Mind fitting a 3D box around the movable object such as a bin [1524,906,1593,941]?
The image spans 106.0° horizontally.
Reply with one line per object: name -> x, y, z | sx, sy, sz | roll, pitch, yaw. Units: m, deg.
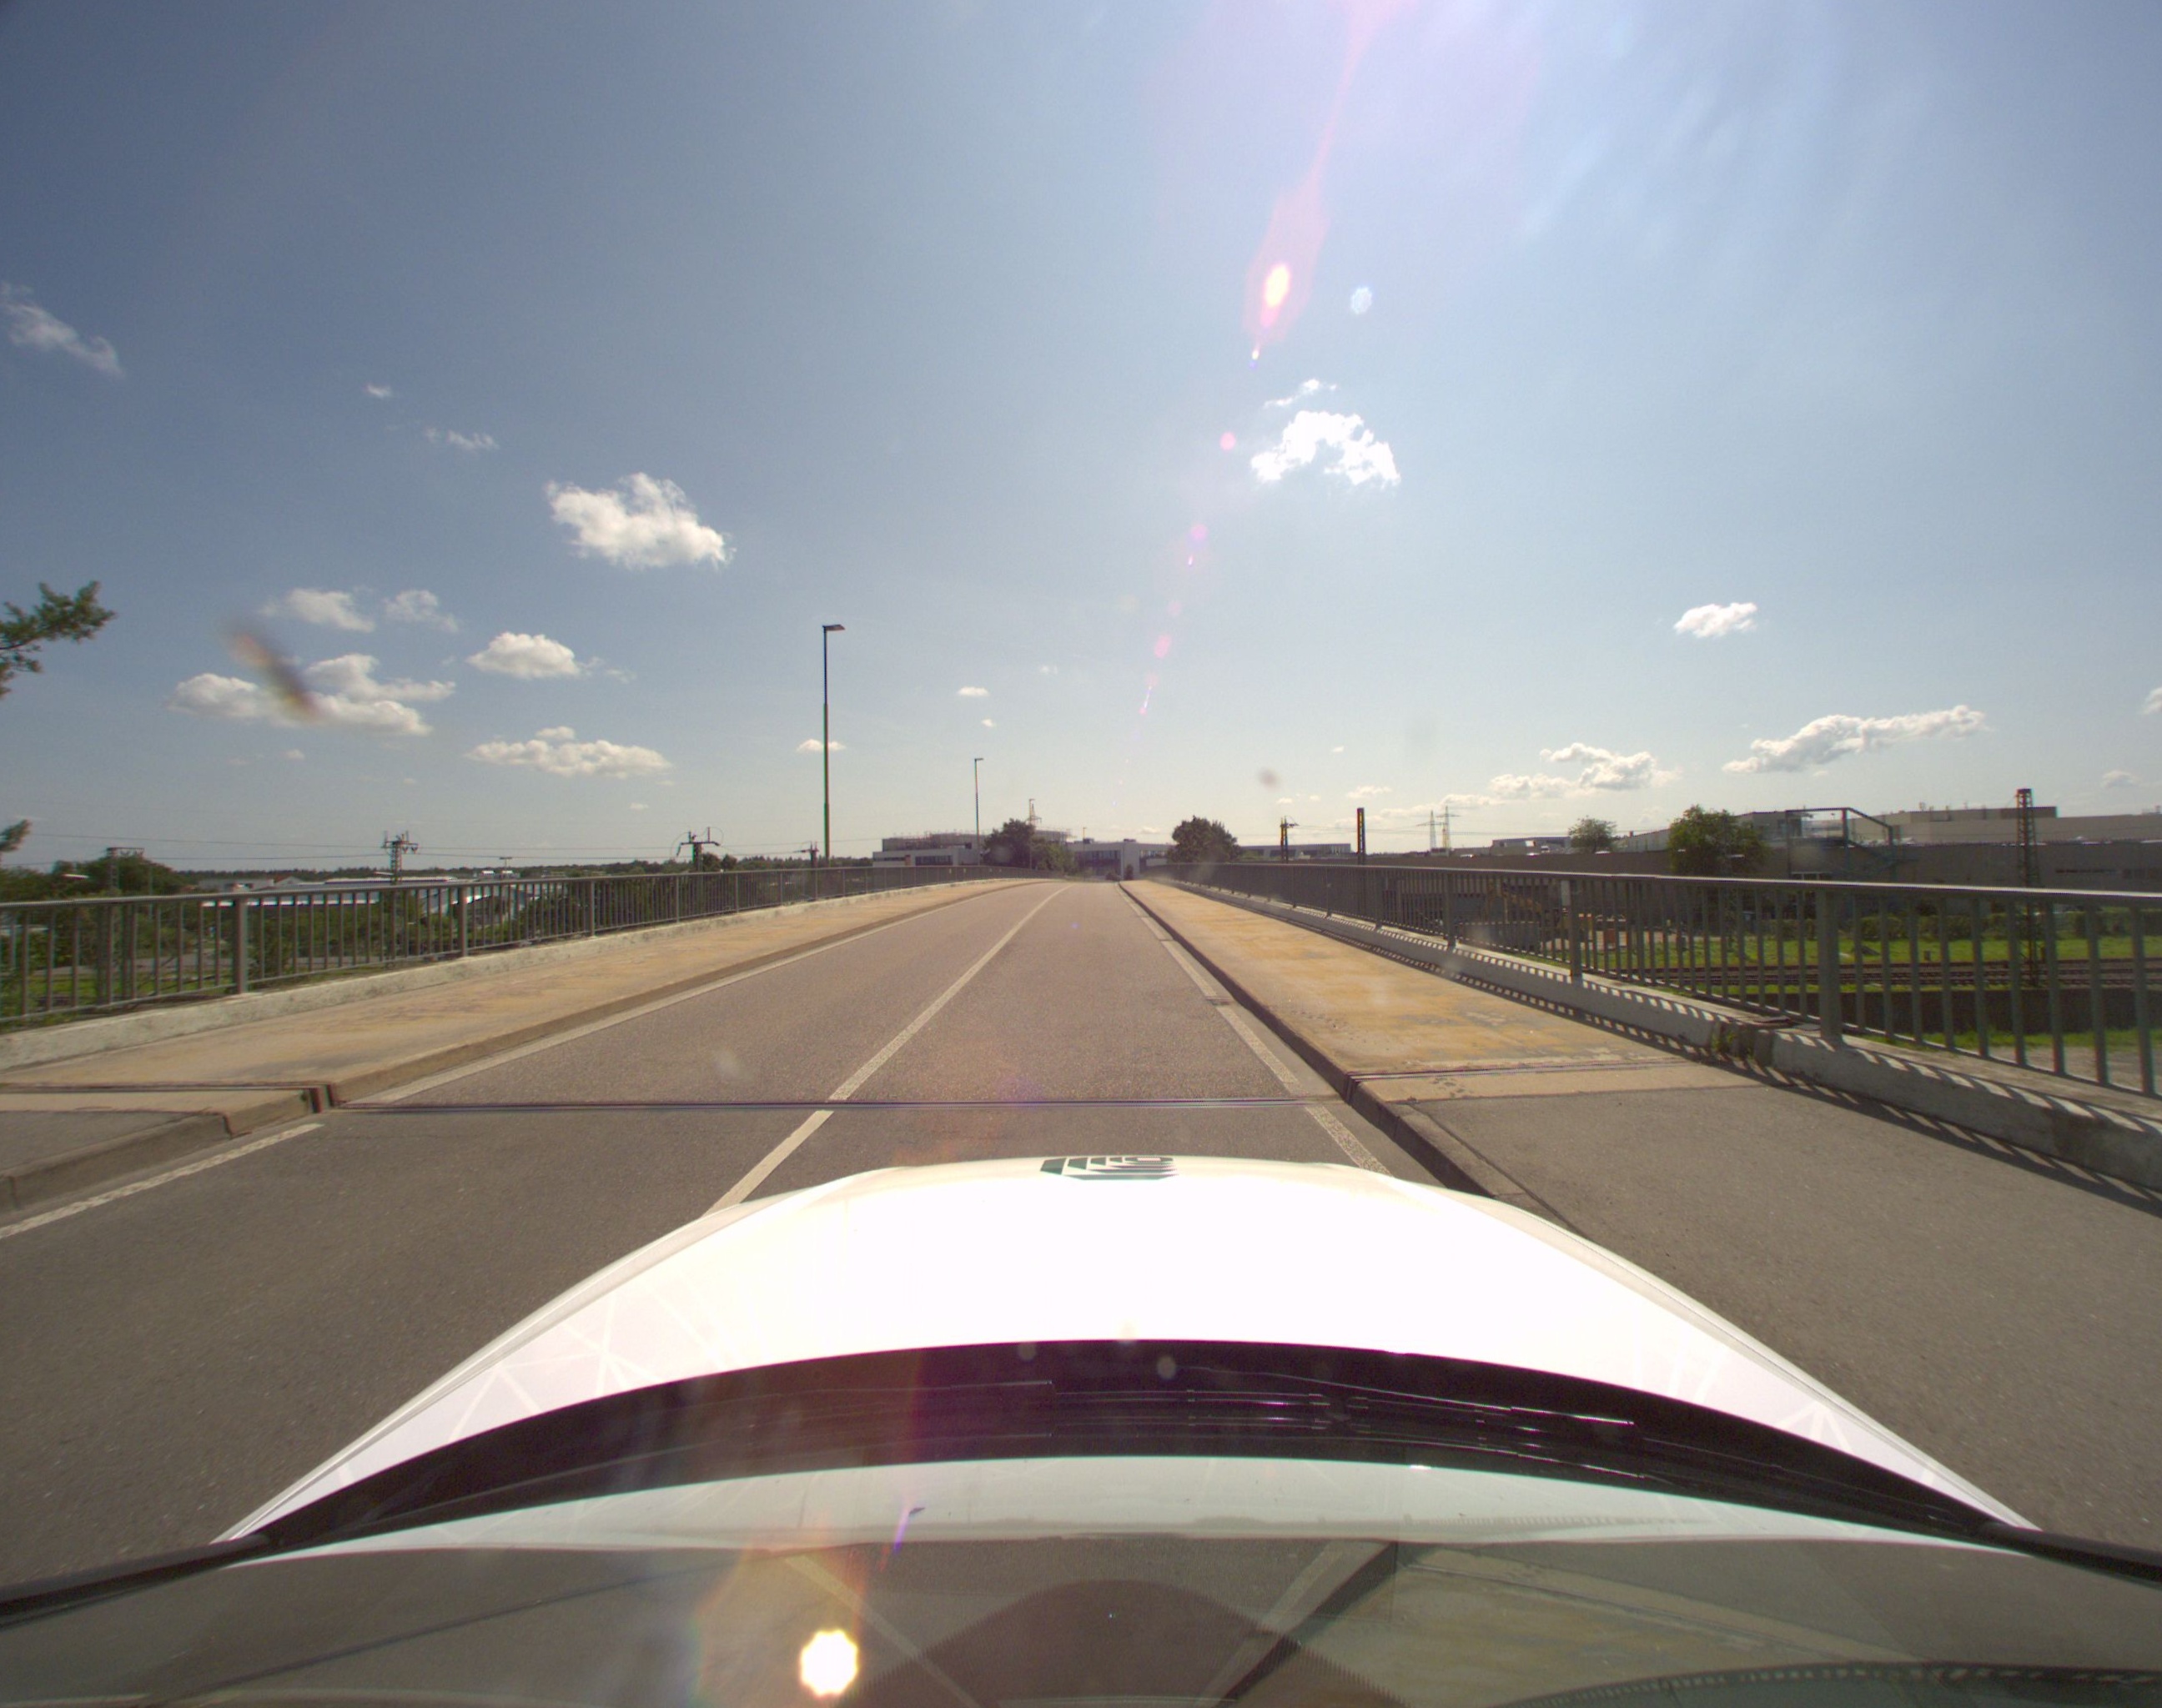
movable object such as a bin -> 51.129, 7.372, 87.356 | 6.144, 3.290, 3.268 | -1, 0, 29
